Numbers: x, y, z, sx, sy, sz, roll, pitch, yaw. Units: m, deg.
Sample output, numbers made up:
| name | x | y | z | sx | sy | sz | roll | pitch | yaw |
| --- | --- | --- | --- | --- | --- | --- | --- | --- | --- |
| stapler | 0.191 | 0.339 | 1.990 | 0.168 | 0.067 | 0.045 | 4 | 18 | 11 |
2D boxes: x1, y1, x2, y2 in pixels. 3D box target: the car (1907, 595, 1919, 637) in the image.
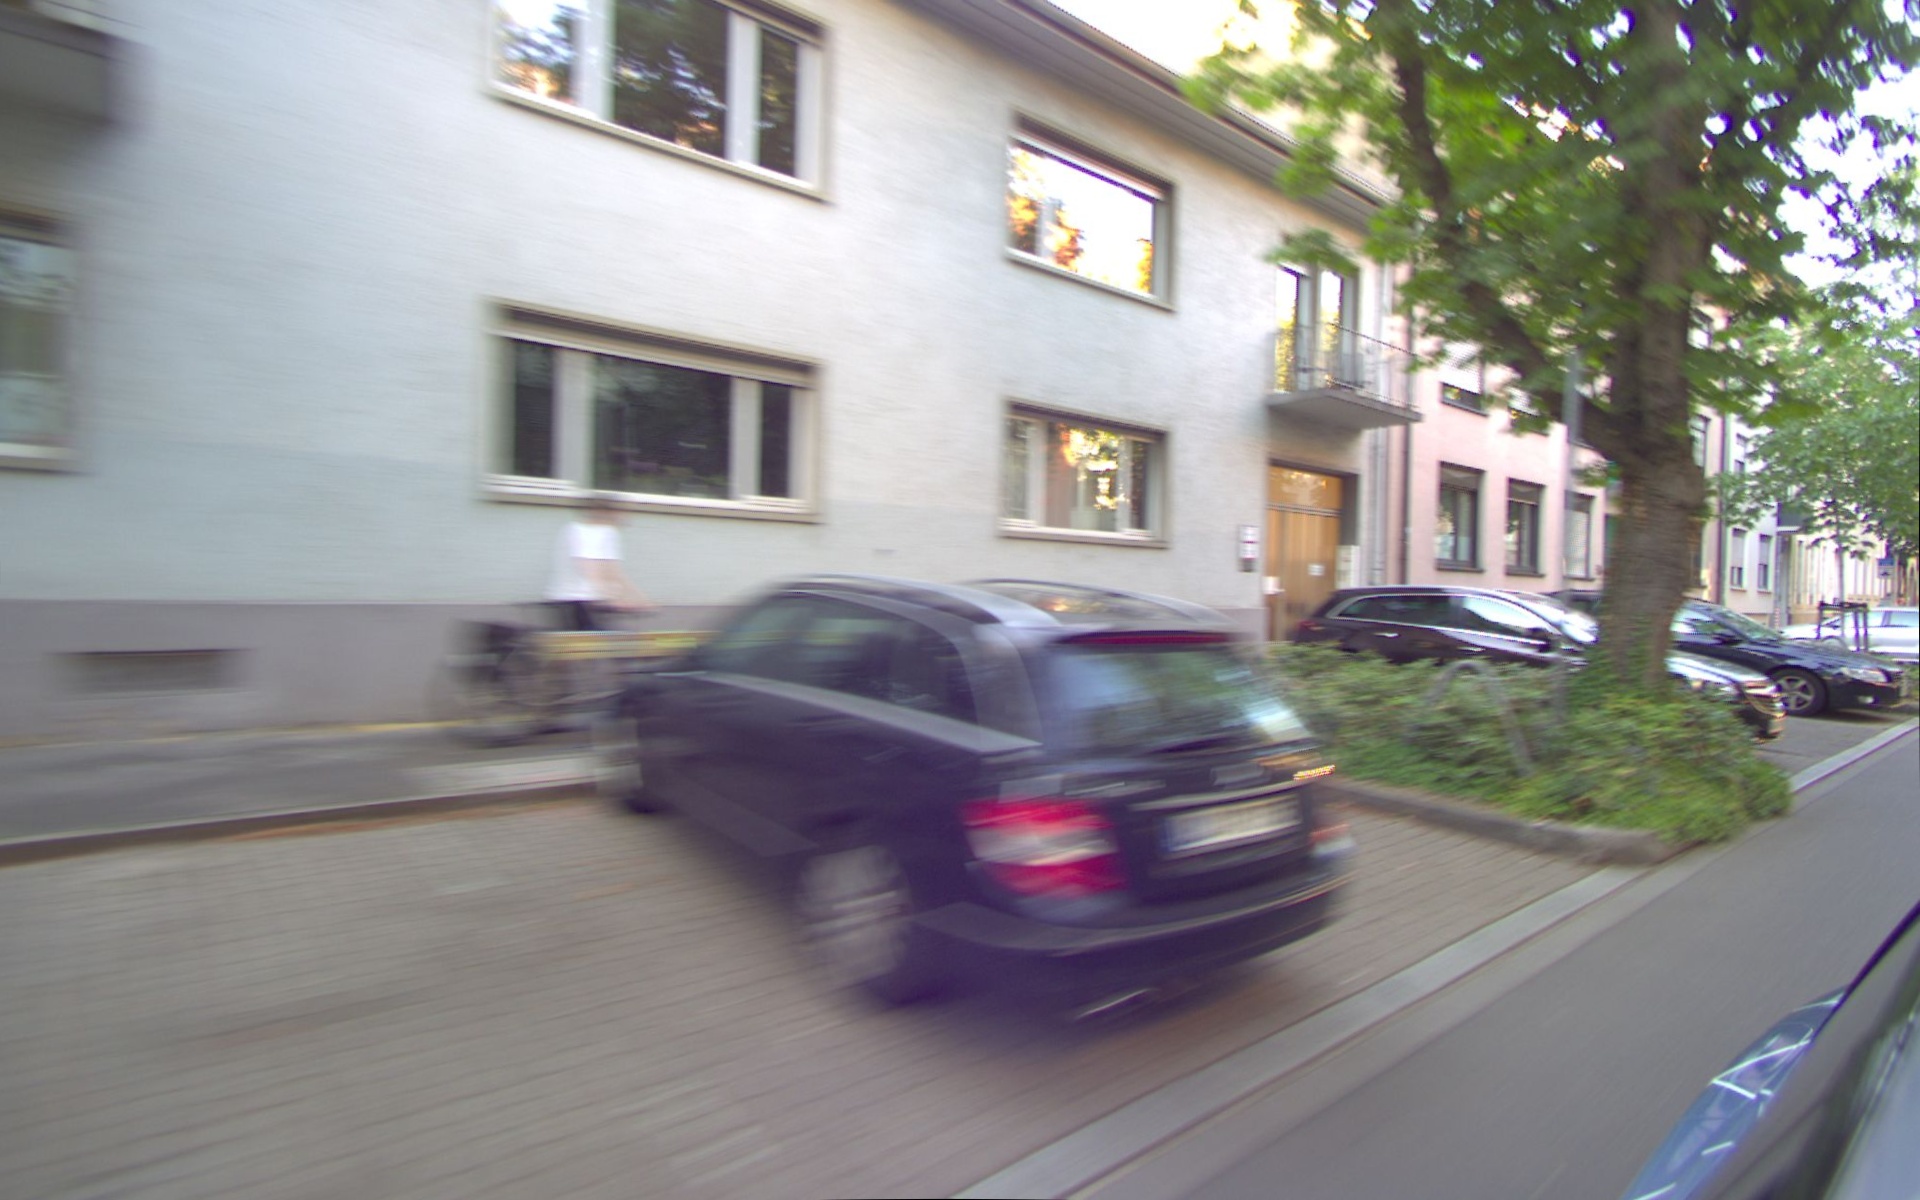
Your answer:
| name | x | y | z | sx | sy | sz | roll | pitch | yaw |
| --- | --- | --- | --- | --- | --- | --- | --- | --- | --- |
| car | 37.520 | 0.657 | 37.282 | 1.725 | 1.572 | 3.727 | 1 | 1 | -42 |

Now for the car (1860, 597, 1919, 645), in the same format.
| name | x | y | z | sx | sy | sz | roll | pitch | yaw |
| --- | --- | --- | --- | --- | --- | --- | --- | --- | --- |
| car | 30.958 | 0.703 | 31.828 | 1.685 | 1.428 | 3.839 | 0 | 2 | -44 |

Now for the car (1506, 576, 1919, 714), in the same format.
| name | x | y | z | sx | sy | sz | roll | pitch | yaw |
| --- | --- | --- | --- | --- | --- | --- | --- | --- | --- |
| car | 11.025 | 0.506 | 14.861 | 2.004 | 1.465 | 4.856 | 1 | 3 | -37 |

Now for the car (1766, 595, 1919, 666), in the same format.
| name | x | y | z | sx | sy | sz | roll | pitch | yaw |
| --- | --- | --- | --- | --- | --- | --- | --- | --- | --- |
| car | 21.490 | 0.686 | 23.512 | 1.767 | 1.509 | 4.087 | 0 | 1 | -42 |

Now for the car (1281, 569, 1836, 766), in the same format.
| name | x | y | z | sx | sy | sz | roll | pitch | yaw |
| --- | --- | --- | --- | --- | --- | --- | --- | --- | --- |
| car | 6.086 | 0.510 | 10.870 | 1.964 | 1.405 | 4.693 | 1 | 4 | -38 |

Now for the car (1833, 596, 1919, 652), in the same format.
| name | x | y | z | sx | sy | sz | roll | pitch | yaw |
| --- | --- | --- | --- | --- | --- | --- | --- | --- | --- |
| car | 27.752 | 0.711 | 28.229 | 1.952 | 1.516 | 4.885 | 1 | 1 | -39 |

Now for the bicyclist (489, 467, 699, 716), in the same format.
| name | x | y | z | sx | sy | sz | roll | pitch | yaw |
| --- | --- | --- | --- | --- | --- | --- | --- | --- | --- |
| bicyclist | -2.649 | -0.070 | 7.341 | 1.117 | 1.624 | 0.971 | 0 | 1 | -45 |

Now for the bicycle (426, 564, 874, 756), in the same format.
| name | x | y | z | sx | sy | sz | roll | pitch | yaw |
| --- | --- | --- | --- | --- | --- | --- | --- | --- | --- |
| bicycle | -2.124 | 0.356 | 7.641 | 0.621 | 1.178 | 3.347 | 2 | 1 | 44 |

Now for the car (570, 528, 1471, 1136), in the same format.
| name | x | y | z | sx | sy | sz | roll | pitch | yaw |
| --- | --- | --- | --- | --- | --- | --- | --- | --- | --- |
| car | -0.277 | 0.461 | 4.922 | 1.973 | 1.444 | 4.476 | 0 | 4 | -35 |
